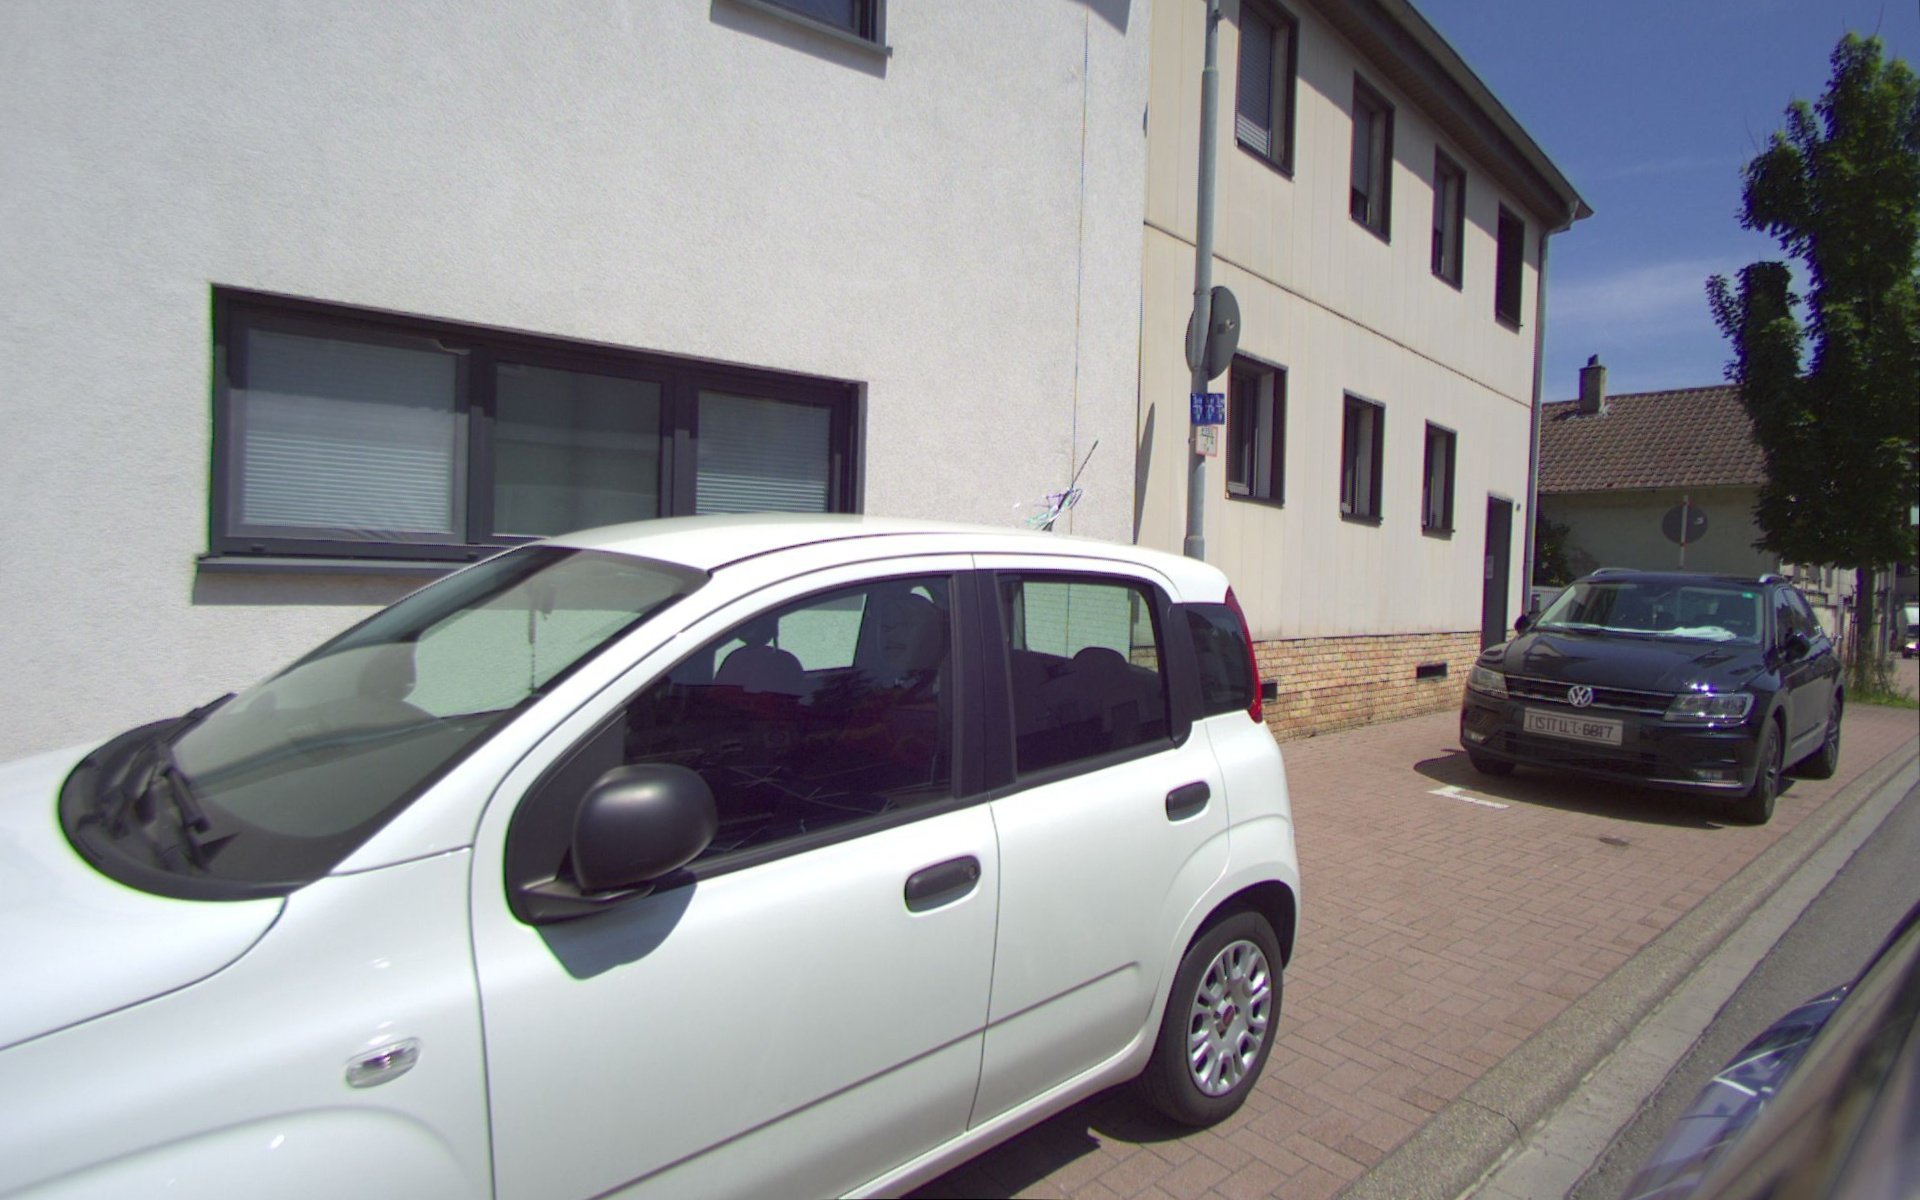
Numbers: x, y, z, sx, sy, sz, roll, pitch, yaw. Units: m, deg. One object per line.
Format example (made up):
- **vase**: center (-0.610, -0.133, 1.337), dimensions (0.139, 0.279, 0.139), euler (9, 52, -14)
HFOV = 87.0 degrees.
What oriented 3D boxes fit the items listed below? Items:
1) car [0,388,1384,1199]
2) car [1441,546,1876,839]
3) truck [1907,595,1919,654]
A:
- **car**: center (-0.639, 0.505, 2.387), dimensions (3.483, 1.540, 1.610), euler (0, 4, -42)
- **car**: center (5.662, 0.524, 7.941), dimensions (4.470, 1.634, 1.805), euler (1, 2, -43)
- **truck**: center (61.517, 1.529, 63.445), dimensions (2.861, 3.555, 8.186), euler (3, 2, 44)
